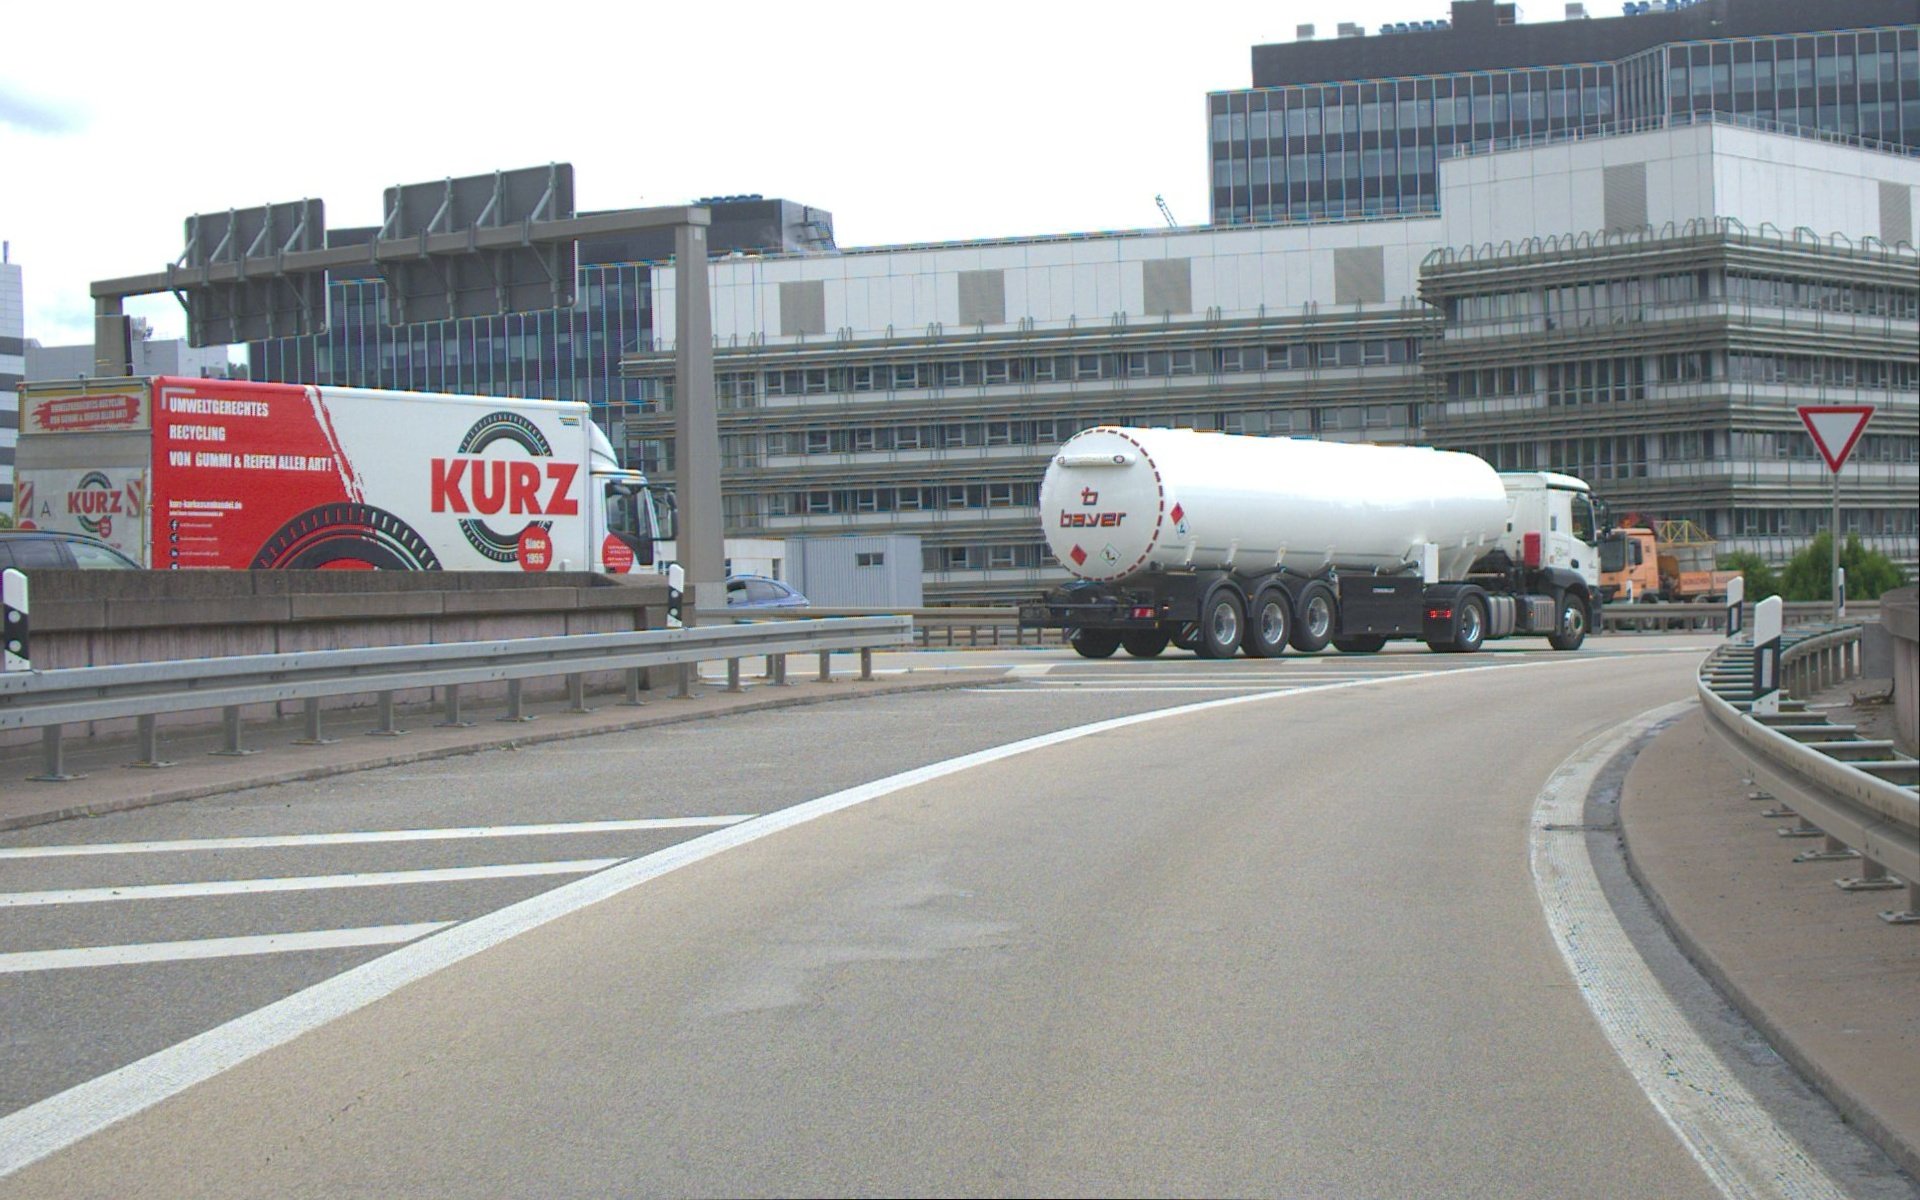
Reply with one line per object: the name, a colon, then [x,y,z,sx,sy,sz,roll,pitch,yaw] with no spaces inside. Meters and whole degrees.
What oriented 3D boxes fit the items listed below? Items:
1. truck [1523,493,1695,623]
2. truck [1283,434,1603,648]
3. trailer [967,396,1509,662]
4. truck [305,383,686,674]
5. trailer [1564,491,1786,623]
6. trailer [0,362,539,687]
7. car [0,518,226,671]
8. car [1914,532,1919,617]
truck: [18.152,-1.163,95.993,2.747,3.468,5.095,-1,0,36]
truck: [8.272,-0.977,58.399,2.775,3.419,5.952,-1,0,37]
trailer: [4.610,-1.045,53.563,2.798,3.725,11.131,-1,0,37]
truck: [-6.186,-0.919,46.200,2.696,3.678,4.430,-1,0,36]
trailer: [20.857,-1.236,99.795,2.740,3.624,9.337,-1,0,35]
trailer: [-8.756,-0.879,42.668,2.696,3.678,7.298,-1,0,36]
car: [-9.722,-0.082,34.921,1.850,1.499,4.256,2,1,37]
car: [32.528,-0.818,108.471,2.584,2.635,6.178,0,1,37]
